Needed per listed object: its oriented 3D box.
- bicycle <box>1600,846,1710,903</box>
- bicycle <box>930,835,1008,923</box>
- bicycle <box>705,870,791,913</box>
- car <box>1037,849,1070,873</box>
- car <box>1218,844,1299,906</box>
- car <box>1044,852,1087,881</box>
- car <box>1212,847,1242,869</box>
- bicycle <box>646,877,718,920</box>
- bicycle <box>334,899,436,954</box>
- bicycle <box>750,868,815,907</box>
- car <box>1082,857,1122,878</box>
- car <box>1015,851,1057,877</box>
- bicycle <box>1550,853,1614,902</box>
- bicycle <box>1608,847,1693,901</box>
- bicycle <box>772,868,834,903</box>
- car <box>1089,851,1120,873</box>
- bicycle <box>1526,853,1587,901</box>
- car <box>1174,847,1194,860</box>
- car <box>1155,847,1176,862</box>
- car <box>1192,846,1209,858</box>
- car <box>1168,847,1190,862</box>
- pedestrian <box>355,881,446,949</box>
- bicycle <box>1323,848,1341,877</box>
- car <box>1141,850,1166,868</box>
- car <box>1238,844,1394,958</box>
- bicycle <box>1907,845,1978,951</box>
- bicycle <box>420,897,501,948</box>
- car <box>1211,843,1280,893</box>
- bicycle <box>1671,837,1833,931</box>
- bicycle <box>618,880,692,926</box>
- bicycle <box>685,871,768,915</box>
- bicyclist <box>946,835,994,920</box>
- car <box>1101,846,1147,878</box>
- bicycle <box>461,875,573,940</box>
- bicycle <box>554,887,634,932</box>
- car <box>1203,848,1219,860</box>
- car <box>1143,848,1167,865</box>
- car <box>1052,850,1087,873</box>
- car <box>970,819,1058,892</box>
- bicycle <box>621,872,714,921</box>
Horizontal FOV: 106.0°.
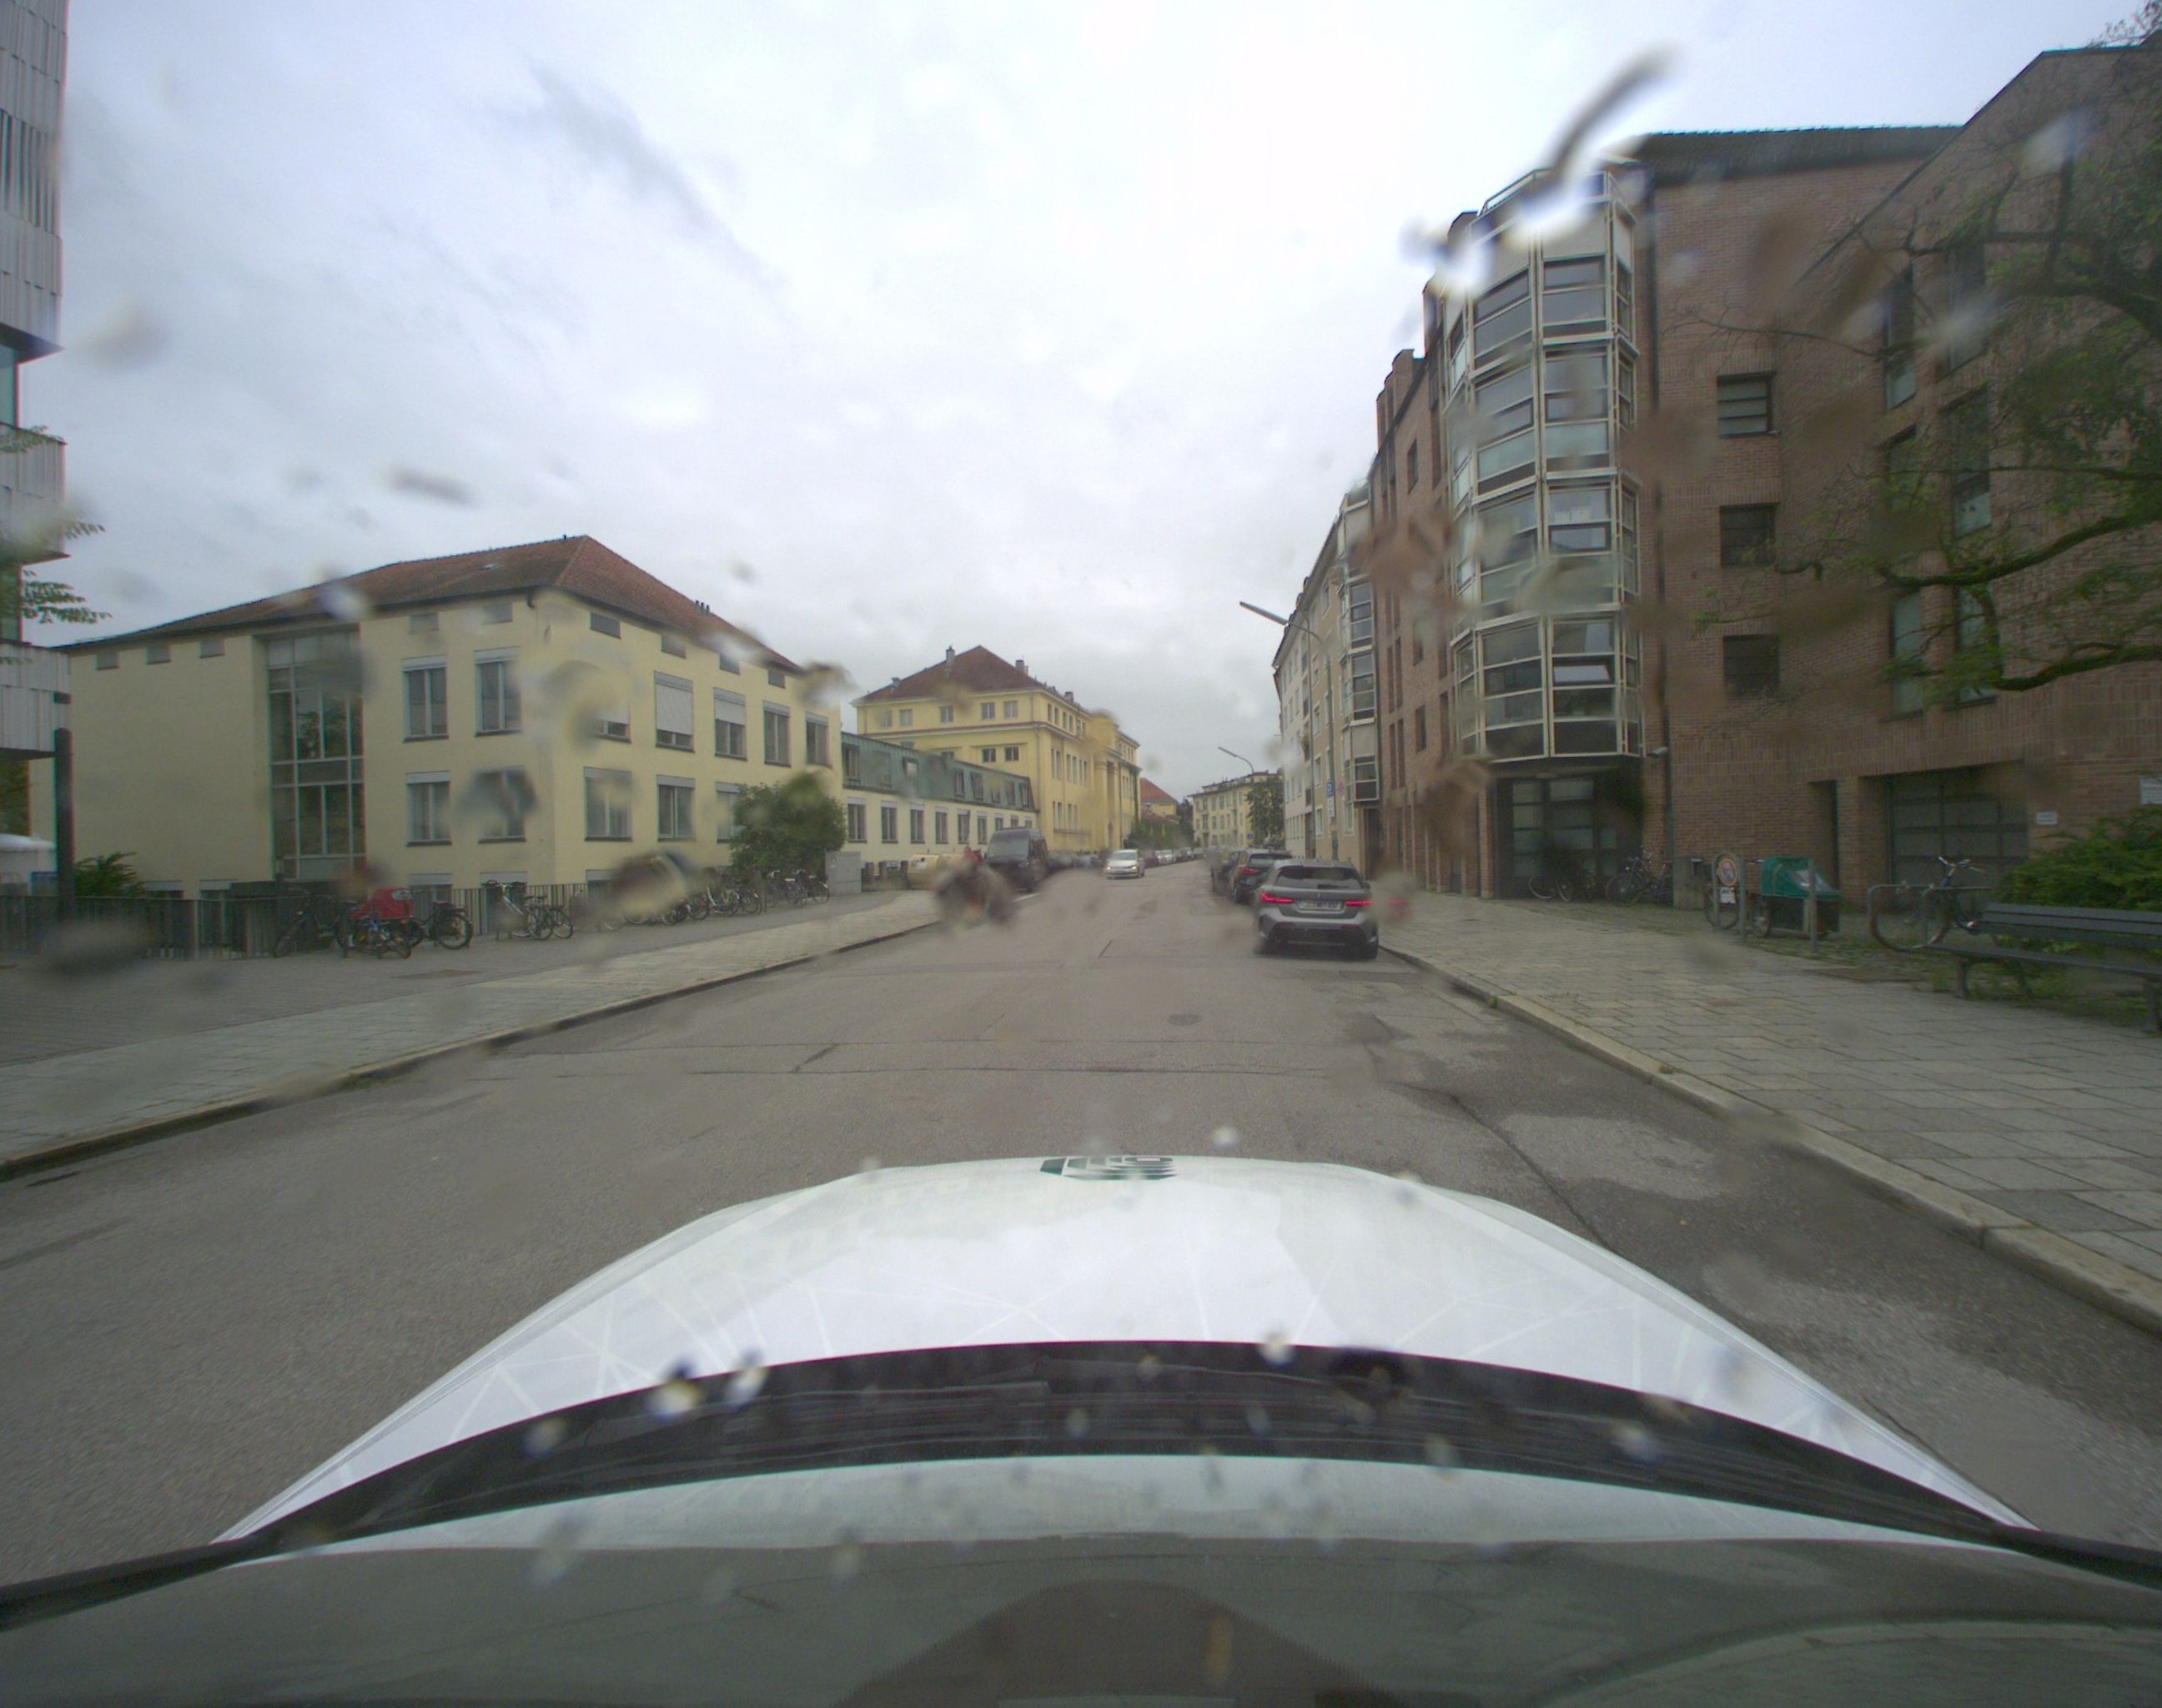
[{"bbox_3d":[12.061,0.419,17.154,1.835,1.147,0.490,0,1,15],"label":"bicycle"},{"bbox_3d":[-2.732,0.562,20.279,0.742,2.013,2.859,-4,0,15],"label":"bicycle"},{"bbox_3d":[-9.577,1.072,23.431,2.466,1.140,0.639,0,1,19],"label":"bicycle"},{"bbox_3d":[-1.976,0.486,59.289,1.593,1.660,2.820,0,1,15],"label":"car"},{"bbox_3d":[5.082,0.529,23.845,1.821,1.602,4.273,0,1,6],"label":"car"},{"bbox_3d":[-0.828,0.669,45.945,1.688,1.453,3.753,0,1,11],"label":"car"},{"bbox_3d":[9.779,0.261,54.930,1.876,1.410,4.442,0,0,9],"label":"car"},{"bbox_3d":[-10.460,1.154,21.347,1.851,1.029,0.542,0,1,19],"label":"bicycle"},{"bbox_3d":[-12.059,1.239,14.110,1.706,0.862,0.441,0,1,15],"label":"bicycle"},{"bbox_3d":[-9.269,1.028,25.278,1.940,1.131,0.576,0,1,19],"label":"bicycle"},{"bbox_3d":[1.327,0.808,50.576,1.516,1.202,3.758,0,1,17],"label":"car"},{"bbox_3d":[-3.023,0.654,55.456,1.707,1.660,3.763,0,1,15],"label":"car"},{"bbox_3d":[11.624,0.523,18.967,0.483,1.060,2.000,0,0,7],"label":"bicycle"},{"bbox_3d":[12.351,0.420,17.685,1.466,1.147,0.384,0,1,15],"label":"bicycle"},{"bbox_3d":[-9.203,1.043,26.956,1.889,1.092,0.681,0,1,19],"label":"bicycle"},{"bbox_3d":[1.812,0.557,61.687,1.761,1.550,3.791,0,1,12],"label":"car"},{"bbox_3d":[11.080,0.521,19.032,0.483,1.060,1.999,0,-1,7],"label":"bicycle"},{"bbox_3d":[12.422,-0.074,98.099,1.980,1.548,4.014,0,1,12],"label":"car"},{"bbox_3d":[8.593,0.020,83.084,1.686,1.444,3.521,0,1,13],"label":"car"},{"bbox_3d":[16.352,-0.248,111.216,1.980,1.548,4.014,0,1,12],"label":"car"},{"bbox_3d":[10.752,0.028,88.951,1.980,1.548,4.014,0,1,12],"label":"car"},{"bbox_3d":[-12.542,1.103,15.041,0.713,1.163,1.044,0,1,14],"label":"pedestrian"},{"bbox_3d":[11.871,0.390,38.559,0.465,1.288,2.682,0,1,10],"label":"bicycle"},{"bbox_3d":[6.273,0.395,70.150,1.686,1.444,3.521,0,1,12],"label":"car"},{"bbox_3d":[3.579,0.622,13.180,1.914,1.512,4.403,0,0,9],"label":"car"},{"bbox_3d":[10.207,0.480,9.640,1.367,1.173,0.416,-1,1,-37],"label":"bicycle"},{"bbox_3d":[-11.509,1.262,15.098,1.361,0.862,0.441,0,1,15],"label":"bicycle"},{"bbox_3d":[5.735,0.435,28.919,1.954,1.602,4.679,0,1,6],"label":"car"},{"bbox_3d":[9.816,0.415,12.063,0.531,1.248,2.415,0,-1,4],"label":"bicycle"},{"bbox_3d":[-10.410,1.184,19.890,1.776,1.033,0.510,0,1,19],"label":"bicycle"},{"bbox_3d":[-9.831,1.069,22.573,2.291,1.135,0.584,0,1,19],"label":"bicycle"},{"bbox_3d":[-2.761,0.571,20.320,0.761,2.013,0.771,-5,0,14],"label":"bicyclist"},{"bbox_3d":[2.540,0.504,46.796,2.013,1.621,4.517,-3,-2,10],"label":"car"},{"bbox_3d":[-11.645,1.083,16.817,2.087,1.227,0.791,0,1,19],"label":"bicycle"},{"bbox_3d":[-10.982,1.241,18.367,1.661,0.916,0.598,0,1,19],"label":"bicycle"},{"bbox_3d":[15.880,-0.029,99.618,1.686,1.444,3.521,0,1,12],"label":"car"},{"bbox_3d":[6.911,0.214,75.836,1.686,1.444,3.521,0,1,13],"label":"car"},{"bbox_3d":[-0.859,0.564,62.822,1.707,1.660,3.763,0,1,15],"label":"car"},{"bbox_3d":[-2.703,0.096,34.703,2.408,2.715,5.965,-3,-1,8],"label":"car"},{"bbox_3d":[-10.526,1.088,20.703,2.532,1.206,0.426,-2,0,19],"label":"bicycle"}]
